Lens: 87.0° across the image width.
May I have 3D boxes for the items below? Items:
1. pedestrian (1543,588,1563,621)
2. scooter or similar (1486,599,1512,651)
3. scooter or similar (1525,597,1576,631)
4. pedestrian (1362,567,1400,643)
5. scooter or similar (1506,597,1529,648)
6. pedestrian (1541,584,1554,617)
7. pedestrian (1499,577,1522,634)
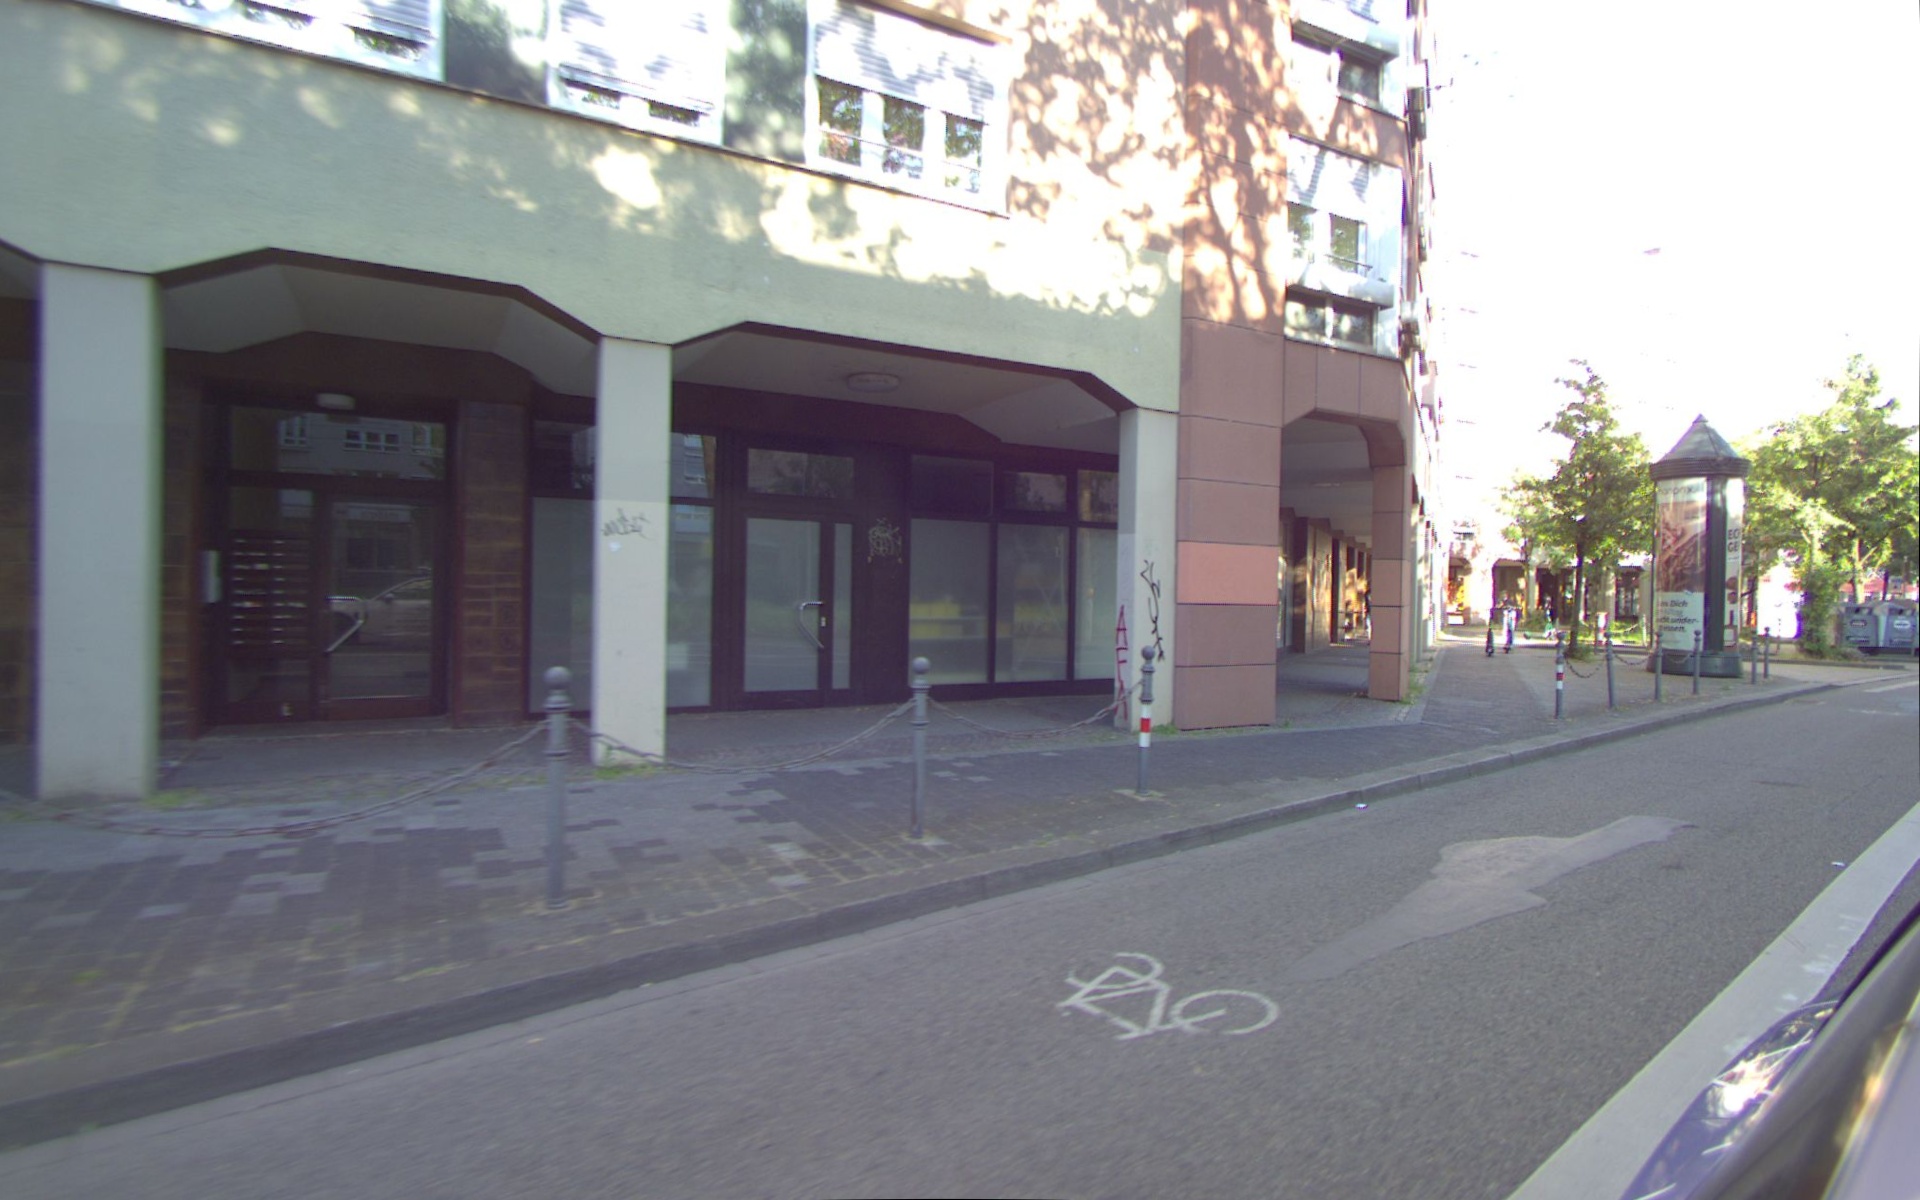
[{"bbox_3d":[33.352,0.266,56.917,0.767,1.828,0.722,1,0,17],"label":"pedestrian"},{"bbox_3d":[13.109,0.590,24.594,0.482,1.232,1.435,1,0,30],"label":"scooter or similar"},{"bbox_3d":[20.937,0.493,35.889,0.548,1.160,1.460,1,0,-34],"label":"scooter or similar"},{"bbox_3d":[11.428,0.124,27.469,0.812,2.006,0.839,1,0,31],"label":"pedestrian"},{"bbox_3d":[14.604,0.578,26.514,0.482,1.290,1.435,1,0,30],"label":"scooter or similar"},{"bbox_3d":[33.741,0.020,58.123,0.617,1.894,0.701,1,0,30],"label":"pedestrian"},{"bbox_3d":[19.873,0.186,36.523,0.637,2.006,0.766,1,0,35],"label":"pedestrian"}]
